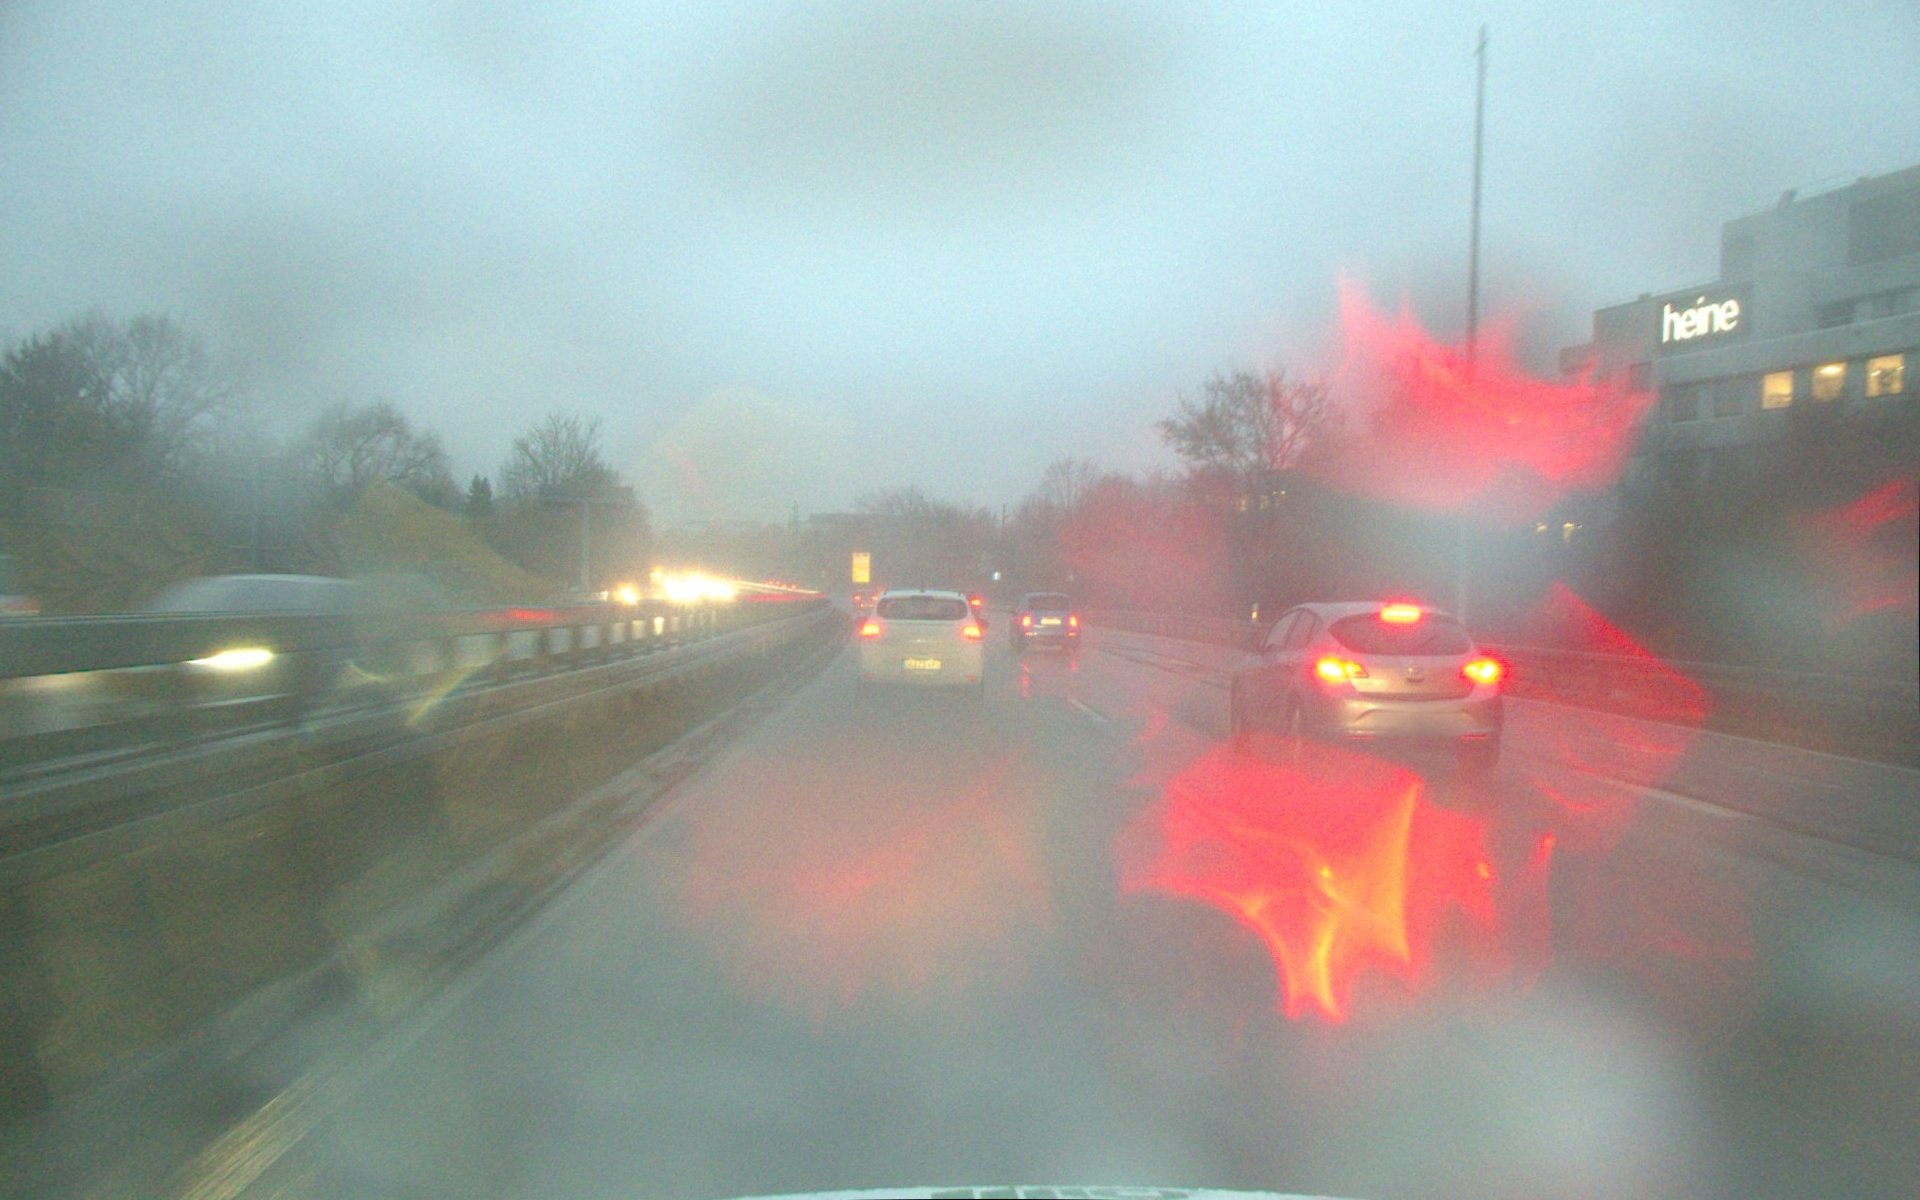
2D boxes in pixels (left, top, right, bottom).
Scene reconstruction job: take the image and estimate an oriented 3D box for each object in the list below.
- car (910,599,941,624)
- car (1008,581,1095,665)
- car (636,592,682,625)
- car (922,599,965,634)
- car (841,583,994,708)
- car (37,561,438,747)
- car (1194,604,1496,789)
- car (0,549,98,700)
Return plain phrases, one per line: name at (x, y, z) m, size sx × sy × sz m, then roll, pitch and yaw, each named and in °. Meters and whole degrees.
car at (-2.284, 0.751, 107.899) m, size 1.894 × 1.573 × 3.771 m, roll 1°, pitch 0°, yaw -3°
car at (2.339, 0.563, 43.152) m, size 1.893 × 2.055 × 3.772 m, roll 1°, pitch 0°, yaw -2°
car at (-14.301, 0.394, 78.760) m, size 1.663 × 1.466 × 3.679 m, roll 1°, pitch 0°, yaw -3°
car at (-0.873, 0.839, 84.672) m, size 1.895 × 1.573 × 3.770 m, roll -5°, pitch 0°, yaw -4°
car at (-0.679, 0.601, 23.708) m, size 1.985 × 1.602 × 3.997 m, roll 1°, pitch 0°, yaw -4°
car at (-6.581, 0.438, 15.721) m, size 1.828 × 1.475 × 4.644 m, roll 1°, pitch 0°, yaw -1°
car at (3.592, 0.831, 16.238) m, size 1.812 × 1.528 × 4.260 m, roll 1°, pitch 0°, yaw -2°
car at (-11.445, 0.252, 17.864) m, size 1.828 × 1.656 × 4.778 m, roll 1°, pitch 0°, yaw -1°
